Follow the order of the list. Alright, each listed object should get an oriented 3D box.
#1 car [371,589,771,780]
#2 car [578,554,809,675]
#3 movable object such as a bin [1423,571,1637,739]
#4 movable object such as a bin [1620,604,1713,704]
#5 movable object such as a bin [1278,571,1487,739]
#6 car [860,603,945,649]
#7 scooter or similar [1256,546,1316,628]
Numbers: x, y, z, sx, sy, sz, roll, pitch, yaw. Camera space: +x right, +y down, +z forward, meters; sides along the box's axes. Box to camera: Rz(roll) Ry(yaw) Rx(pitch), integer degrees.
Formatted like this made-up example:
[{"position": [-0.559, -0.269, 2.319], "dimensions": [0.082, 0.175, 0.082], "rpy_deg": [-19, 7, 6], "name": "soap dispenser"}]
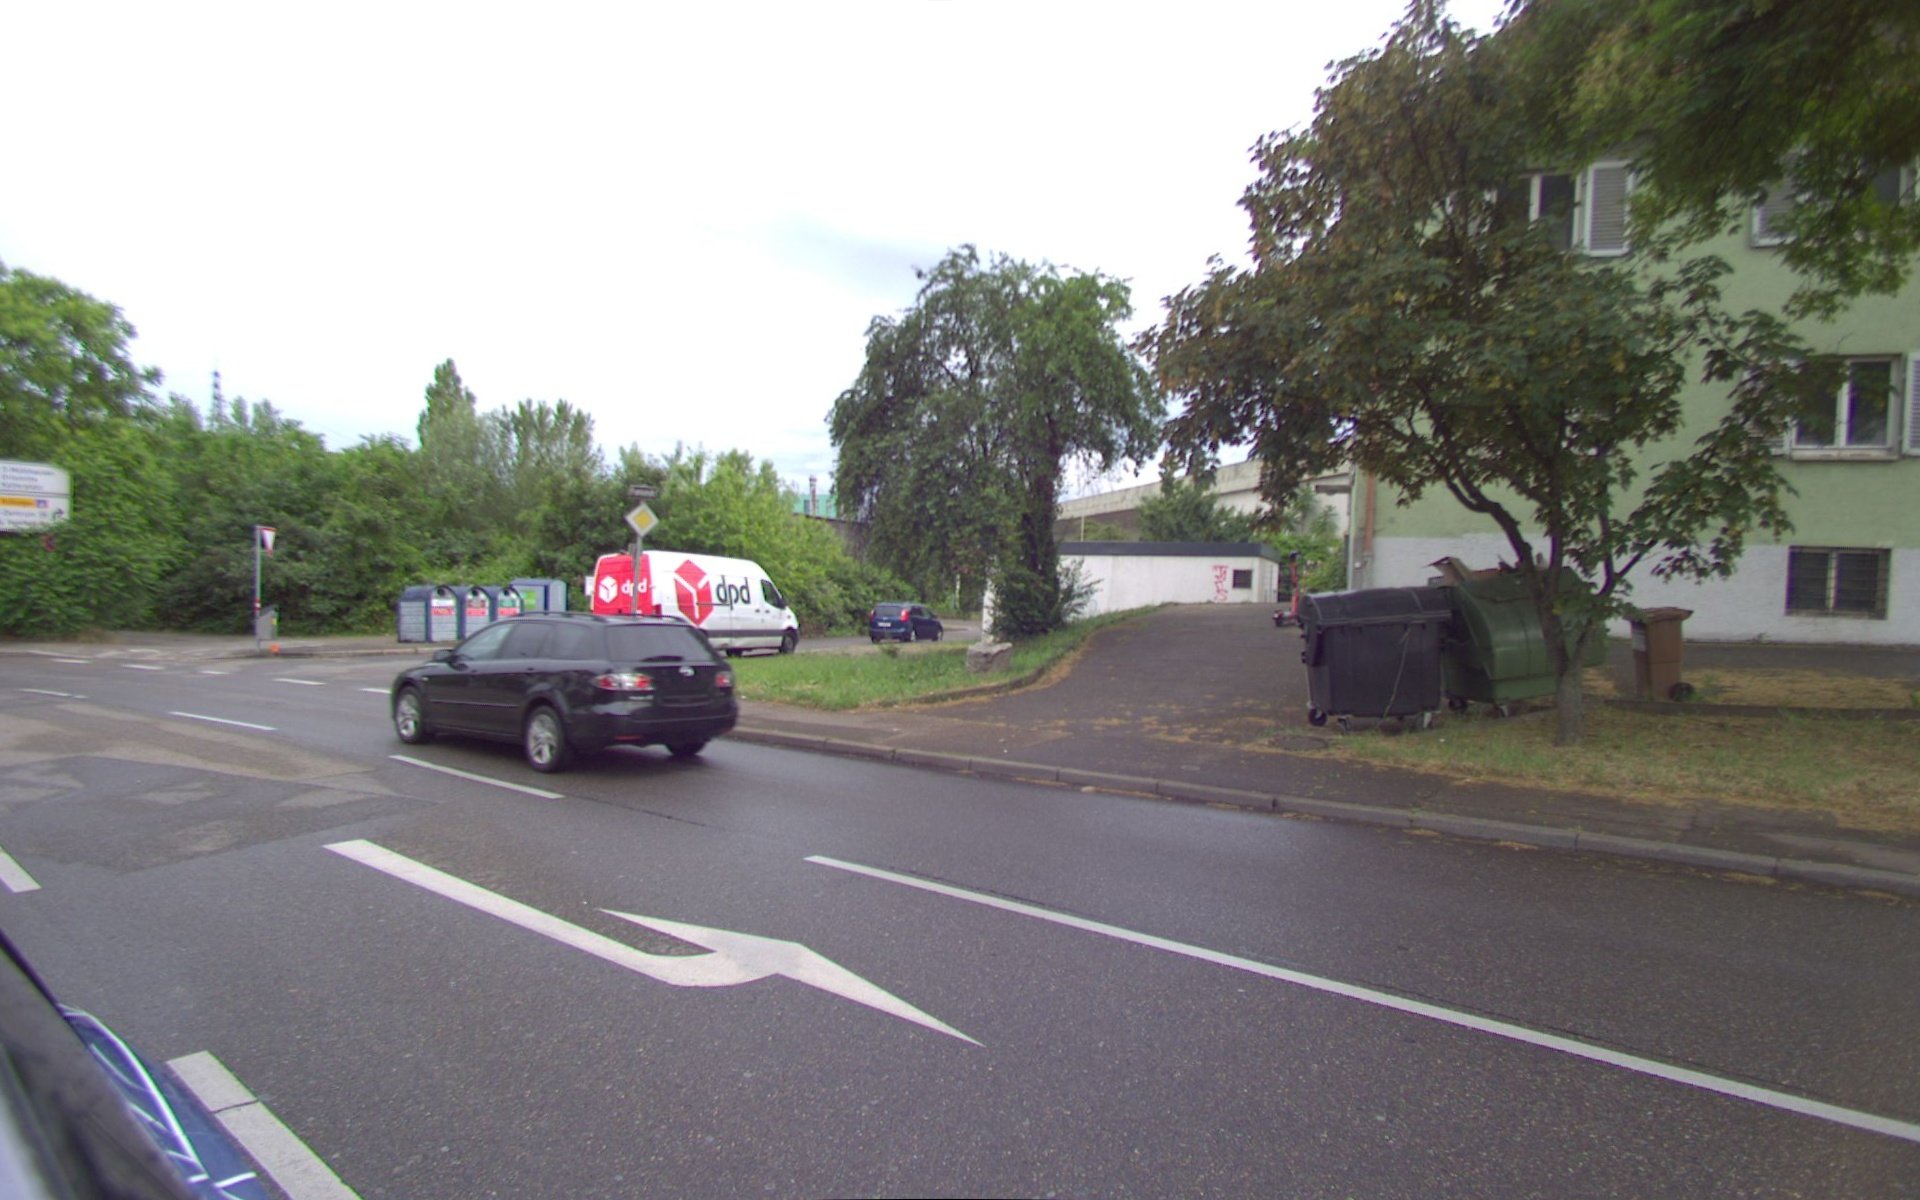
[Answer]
[{"position": [-4.142, 0.716, 10.476], "dimensions": [4.405, 1.581, 1.825], "rpy_deg": [0, -1, 37], "name": "car"}, {"position": [-6.503, 0.295, 25.906], "dimensions": [2.246, 2.675, 6.777], "rpy_deg": [1, 0, 20], "name": "car"}, {"position": [5.711, 0.511, 10.218], "dimensions": [1.440, 1.448, 1.102], "rpy_deg": [-5, 3, -6], "name": "movable object such as a bin"}, {"position": [7.213, 0.533, 10.333], "dimensions": [0.723, 0.964, 0.551], "rpy_deg": [1, 0, 41], "name": "movable object such as a bin"}, {"position": [4.255, 0.501, 10.327], "dimensions": [1.440, 1.448, 1.296], "rpy_deg": [-5, 3, -6], "name": "movable object such as a bin"}, {"position": [-2.221, 0.990, 40.396], "dimensions": [1.984, 1.642, 4.228], "rpy_deg": [1, 1, 18], "name": "car"}, {"position": [5.532, -0.242, 17.133], "dimensions": [0.529, 1.283, 1.507], "rpy_deg": [1, 4, 35], "name": "scooter or similar"}]
